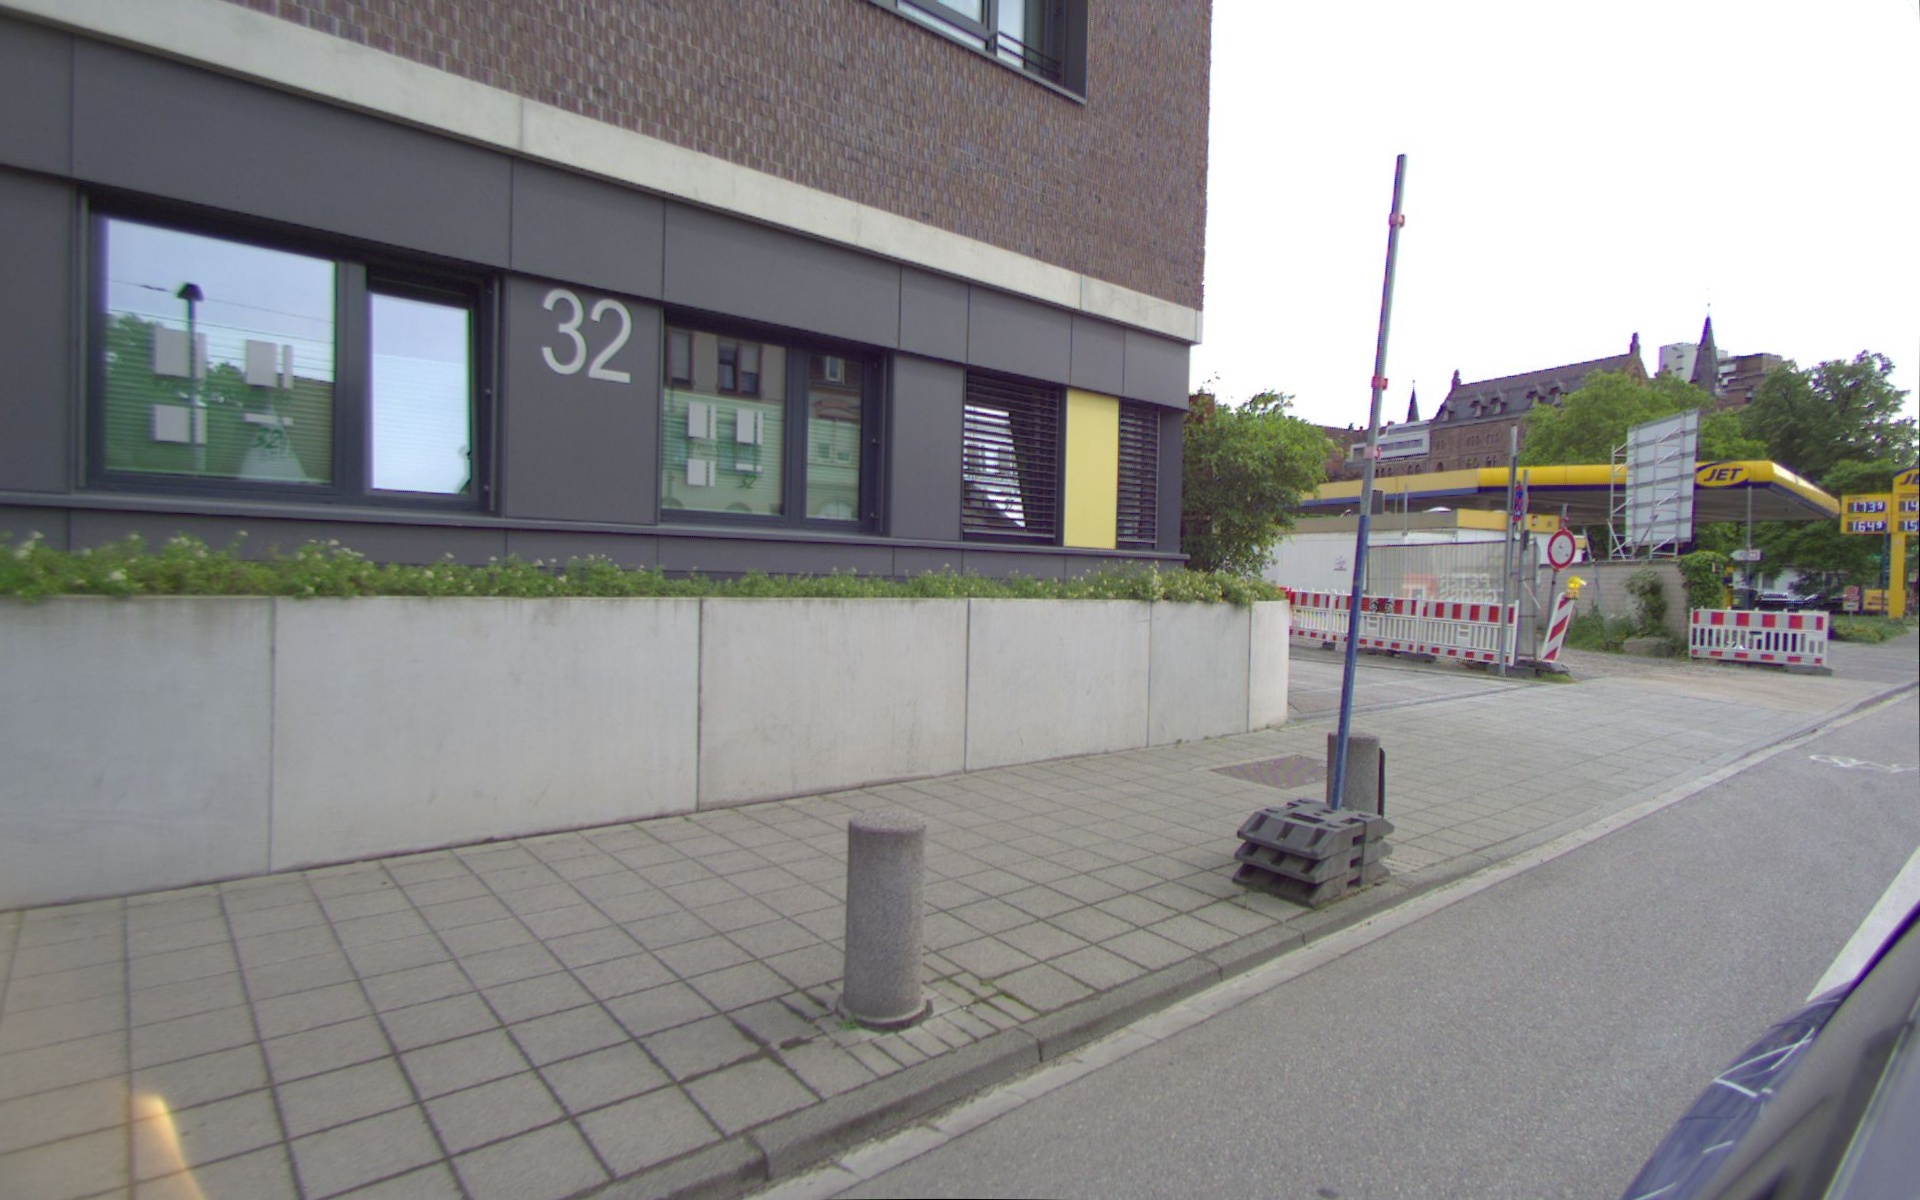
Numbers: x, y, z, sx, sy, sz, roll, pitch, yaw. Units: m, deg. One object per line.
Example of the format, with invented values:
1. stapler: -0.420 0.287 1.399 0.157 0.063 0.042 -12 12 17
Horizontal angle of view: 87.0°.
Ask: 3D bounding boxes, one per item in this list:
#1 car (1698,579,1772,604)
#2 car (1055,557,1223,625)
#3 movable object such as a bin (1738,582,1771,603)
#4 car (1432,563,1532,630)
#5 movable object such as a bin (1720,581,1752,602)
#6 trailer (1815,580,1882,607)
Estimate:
1. car: 54.384 -0.592 71.026 3.986 1.687 1.969 1 1 43
2. car: 4.370 -0.250 24.330 4.274 1.435 1.765 -1 3 -43
3. movable object such as a bin: 50.073 -0.494 63.785 1.136 1.336 1.123 0 1 -13
4. car: 14.526 -0.167 28.369 1.976 1.657 3.923 2 3 21
5. movable object such as a bin: 49.755 -0.546 64.912 1.136 1.375 1.123 0 1 -13
6. trailer: 60.092 -0.478 68.451 3.283 1.549 1.747 4 5 43
